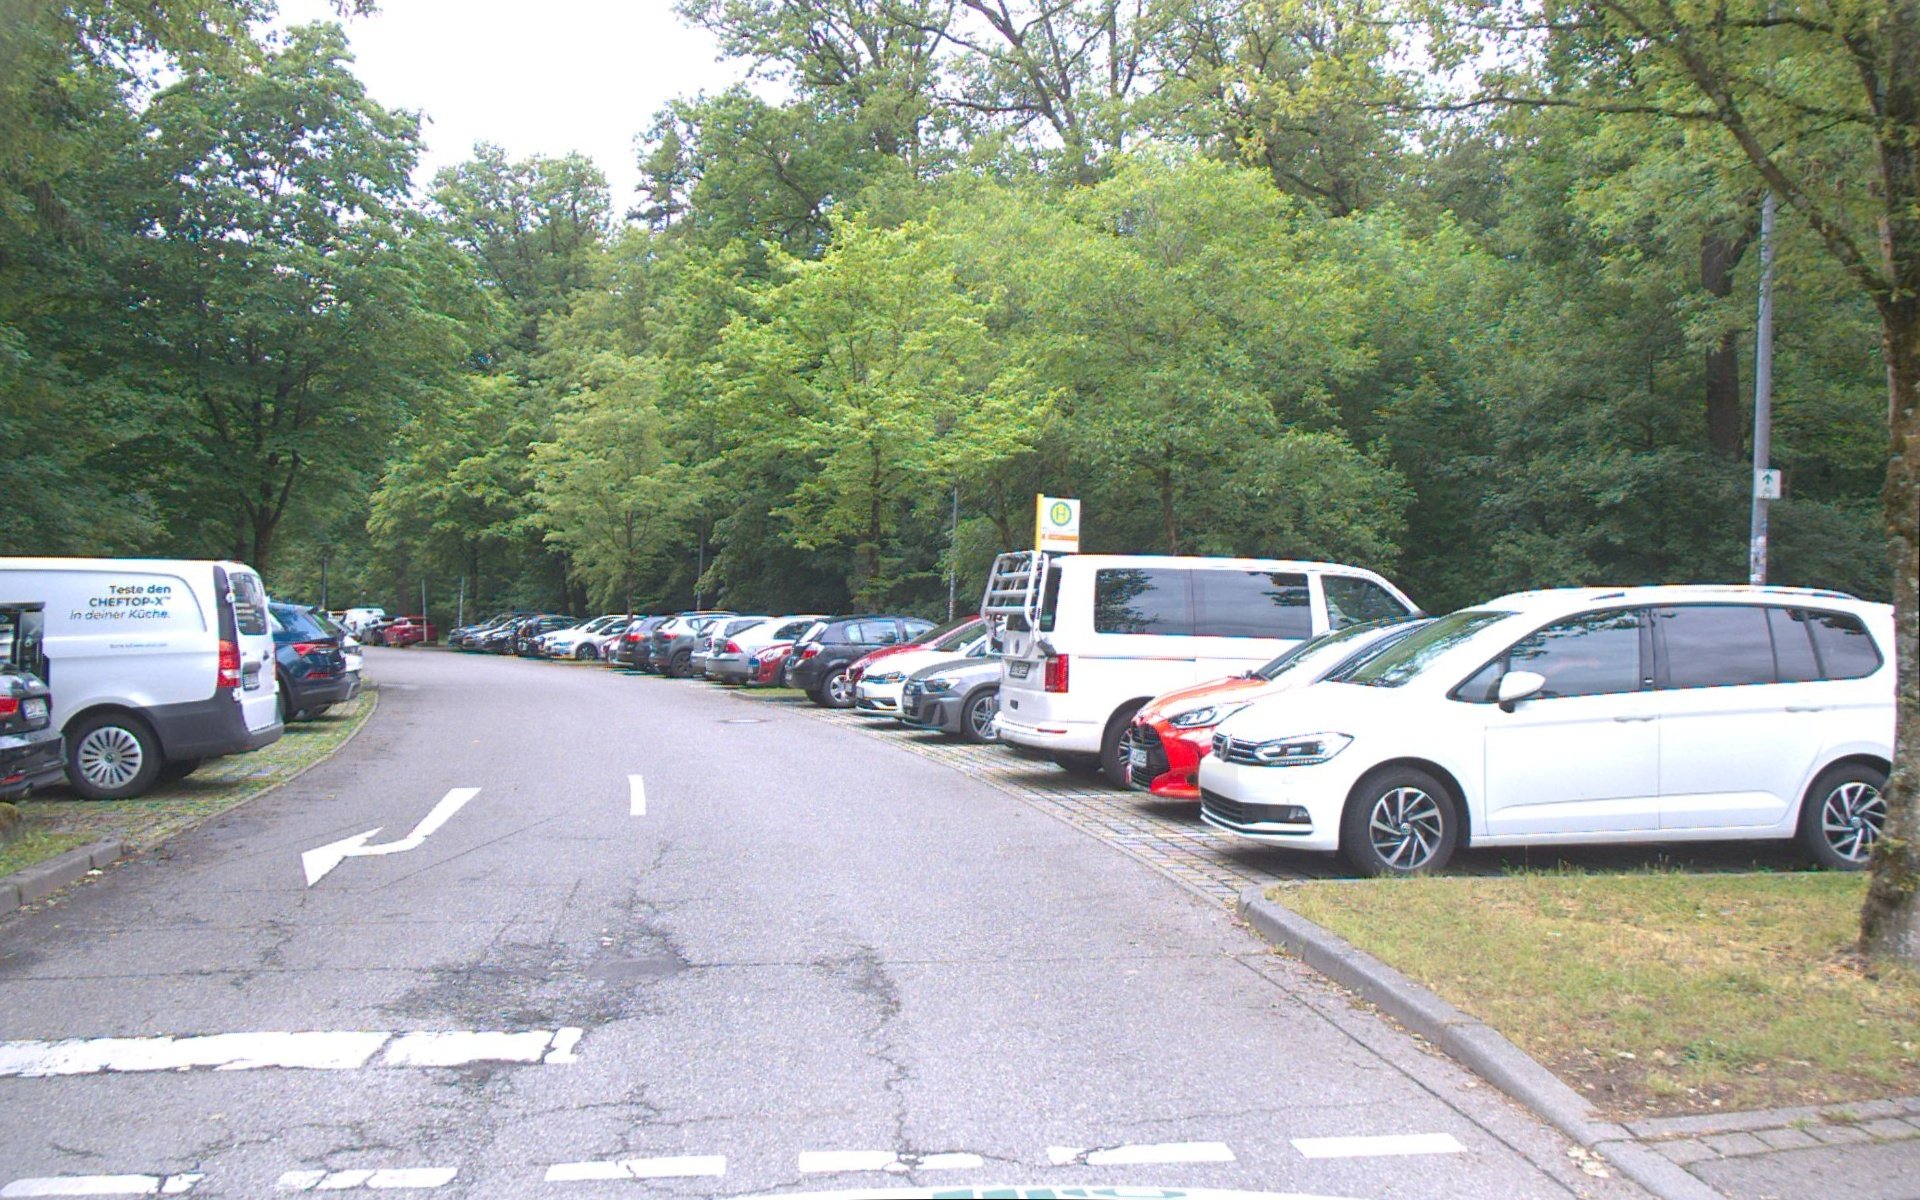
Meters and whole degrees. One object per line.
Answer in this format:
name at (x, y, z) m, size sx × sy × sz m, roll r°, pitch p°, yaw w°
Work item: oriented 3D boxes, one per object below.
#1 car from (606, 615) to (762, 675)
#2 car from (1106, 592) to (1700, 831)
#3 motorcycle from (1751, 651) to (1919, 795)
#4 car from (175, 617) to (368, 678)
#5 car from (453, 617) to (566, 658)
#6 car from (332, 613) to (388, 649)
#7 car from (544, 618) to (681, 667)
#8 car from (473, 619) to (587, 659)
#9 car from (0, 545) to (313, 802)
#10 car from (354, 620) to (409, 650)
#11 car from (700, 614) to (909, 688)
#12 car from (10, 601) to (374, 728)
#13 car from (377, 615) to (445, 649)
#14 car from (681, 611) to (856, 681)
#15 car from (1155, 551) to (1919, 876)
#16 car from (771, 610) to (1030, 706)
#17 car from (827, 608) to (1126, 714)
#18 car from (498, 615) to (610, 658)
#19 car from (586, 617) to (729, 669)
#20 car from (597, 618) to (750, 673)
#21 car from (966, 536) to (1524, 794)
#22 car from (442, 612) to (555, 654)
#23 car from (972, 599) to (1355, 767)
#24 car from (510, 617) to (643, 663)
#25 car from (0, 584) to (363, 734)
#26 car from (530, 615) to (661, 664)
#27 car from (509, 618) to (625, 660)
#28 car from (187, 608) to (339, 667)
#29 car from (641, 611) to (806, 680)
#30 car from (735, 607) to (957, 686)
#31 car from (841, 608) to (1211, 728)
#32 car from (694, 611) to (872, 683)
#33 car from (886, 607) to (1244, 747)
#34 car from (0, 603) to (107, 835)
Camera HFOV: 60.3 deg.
car at (-7.261, 1.185, 43.595) m, size 3.723 × 1.507 × 1.758 m, roll 1°, pitch -1°, yaw -27°
car at (3.257, 0.802, 12.630) m, size 3.921 × 1.582 × 1.943 m, roll 2°, pitch 0°, yaw -8°
motorcycle at (8.376, 1.103, 15.321) m, size 0.664 × 1.181 × 2.000 m, roll 1°, pitch 0°, yaw -20°
car at (-18.074, 1.221, 43.504) m, size 4.580 × 1.504 × 2.078 m, roll 0°, pitch -1°, yaw -25°
car at (-18.016, 1.499, 66.241) m, size 3.954 × 1.579 × 1.951 m, roll 1°, pitch -1°, yaw -35°
car at (-31.233, 1.619, 85.980) m, size 1.729 × 1.811 × 4.498 m, roll 1°, pitch -1°, yaw -34°
car at (-11.122, 1.351, 52.933) m, size 3.933 × 1.510 × 1.866 m, roll 1°, pitch -1°, yaw -29°
car at (-16.691, 1.502, 64.205) m, size 3.942 × 1.501 × 1.934 m, roll 1°, pitch -1°, yaw -29°
car at (-8.072, 0.565, 13.395) m, size 4.998 × 1.949 × 1.972 m, roll 0°, pitch -1°, yaw -13°
car at (-28.510, 1.704, 81.469) m, size 1.708 × 1.447 × 4.238 m, roll 1°, pitch -1°, yaw -31°
car at (-3.268, 1.051, 34.645) m, size 4.065 × 1.487 × 1.854 m, roll 0°, pitch -1°, yaw -20°
car at (-10.438, 0.850, 22.873) m, size 4.286 × 1.626 × 2.021 m, roll 0°, pitch -1°, yaw -17°
car at (-25.510, 1.467, 76.775) m, size 1.974 × 1.505 × 4.918 m, roll 1°, pitch -1°, yaw -31°
car at (-4.533, 1.072, 39.060) m, size 3.791 × 1.573 × 1.717 m, roll 1°, pitch -1°, yaw -24°
car at (3.631, 0.641, 10.181) m, size 4.436 × 1.723 × 2.161 m, roll 1°, pitch -1°, yaw -9°
car at (-1.006, 0.927, 27.301) m, size 3.924 × 1.509 × 1.913 m, roll 0°, pitch -1°, yaw -18°
car at (0.227, 0.905, 25.014) m, size 4.162 × 1.506 × 1.910 m, roll 1°, pitch -1°, yaw -18°
car at (-15.203, 1.355, 61.948) m, size 3.785 × 1.558 × 1.833 m, roll 0°, pitch -1°, yaw -29°
car at (-8.906, 1.262, 48.745) m, size 3.760 × 1.466 × 1.849 m, roll 1°, pitch -1°, yaw -34°
car at (-7.985, 1.261, 46.130) m, size 3.882 × 1.436 × 1.863 m, roll 1°, pitch 0°, yaw -25°
car at (2.553, 0.585, 15.233) m, size 4.570 × 2.056 × 2.076 m, roll 3°, pitch 0°, yaw -14°
car at (-19.170, 1.383, 68.745) m, size 4.220 × 1.695 × 1.938 m, roll 1°, pitch -1°, yaw -30°
car at (2.158, 0.884, 17.933) m, size 3.661 × 1.581 × 1.839 m, roll 2°, pitch 1°, yaw -16°
car at (-13.322, 1.387, 57.455) m, size 4.142 × 1.538 × 1.875 m, roll 1°, pitch -1°, yaw -30°
car at (-9.807, 0.699, 20.446) m, size 4.352 × 1.724 × 2.162 m, roll 1°, pitch 0°, yaw -15°
car at (-12.181, 1.312, 55.219) m, size 3.957 × 1.586 × 1.962 m, roll 1°, pitch -1°, yaw -25°
car at (-14.241, 1.397, 59.944) m, size 3.783 × 1.483 × 1.792 m, roll 0°, pitch -1°, yaw -28°
car at (-20.238, 1.080, 48.208) m, size 3.899 × 1.656 × 1.988 m, roll 0°, pitch -1°, yaw -18°
car at (-5.891, 1.120, 41.080) m, size 3.716 × 1.617 × 1.936 m, roll 1°, pitch -1°, yaw -23°
car at (-2.230, 0.885, 32.200) m, size 3.930 × 1.475 × 1.928 m, roll 0°, pitch -1°, yaw -22°
car at (0.859, 0.885, 22.358) m, size 4.691 × 1.501 × 1.846 m, roll 1°, pitch 0°, yaw -15°
car at (-3.951, 1.042, 36.919) m, size 3.649 × 1.537 × 1.740 m, roll 1°, pitch -2°, yaw -22°
car at (1.238, 0.941, 20.058) m, size 3.922 × 1.509 × 1.869 m, roll 2°, pitch -2°, yaw -16°
car at (-7.808, 0.705, 10.482) m, size 3.919 × 1.403 × 1.716 m, roll 1°, pitch 0°, yaw -14°
